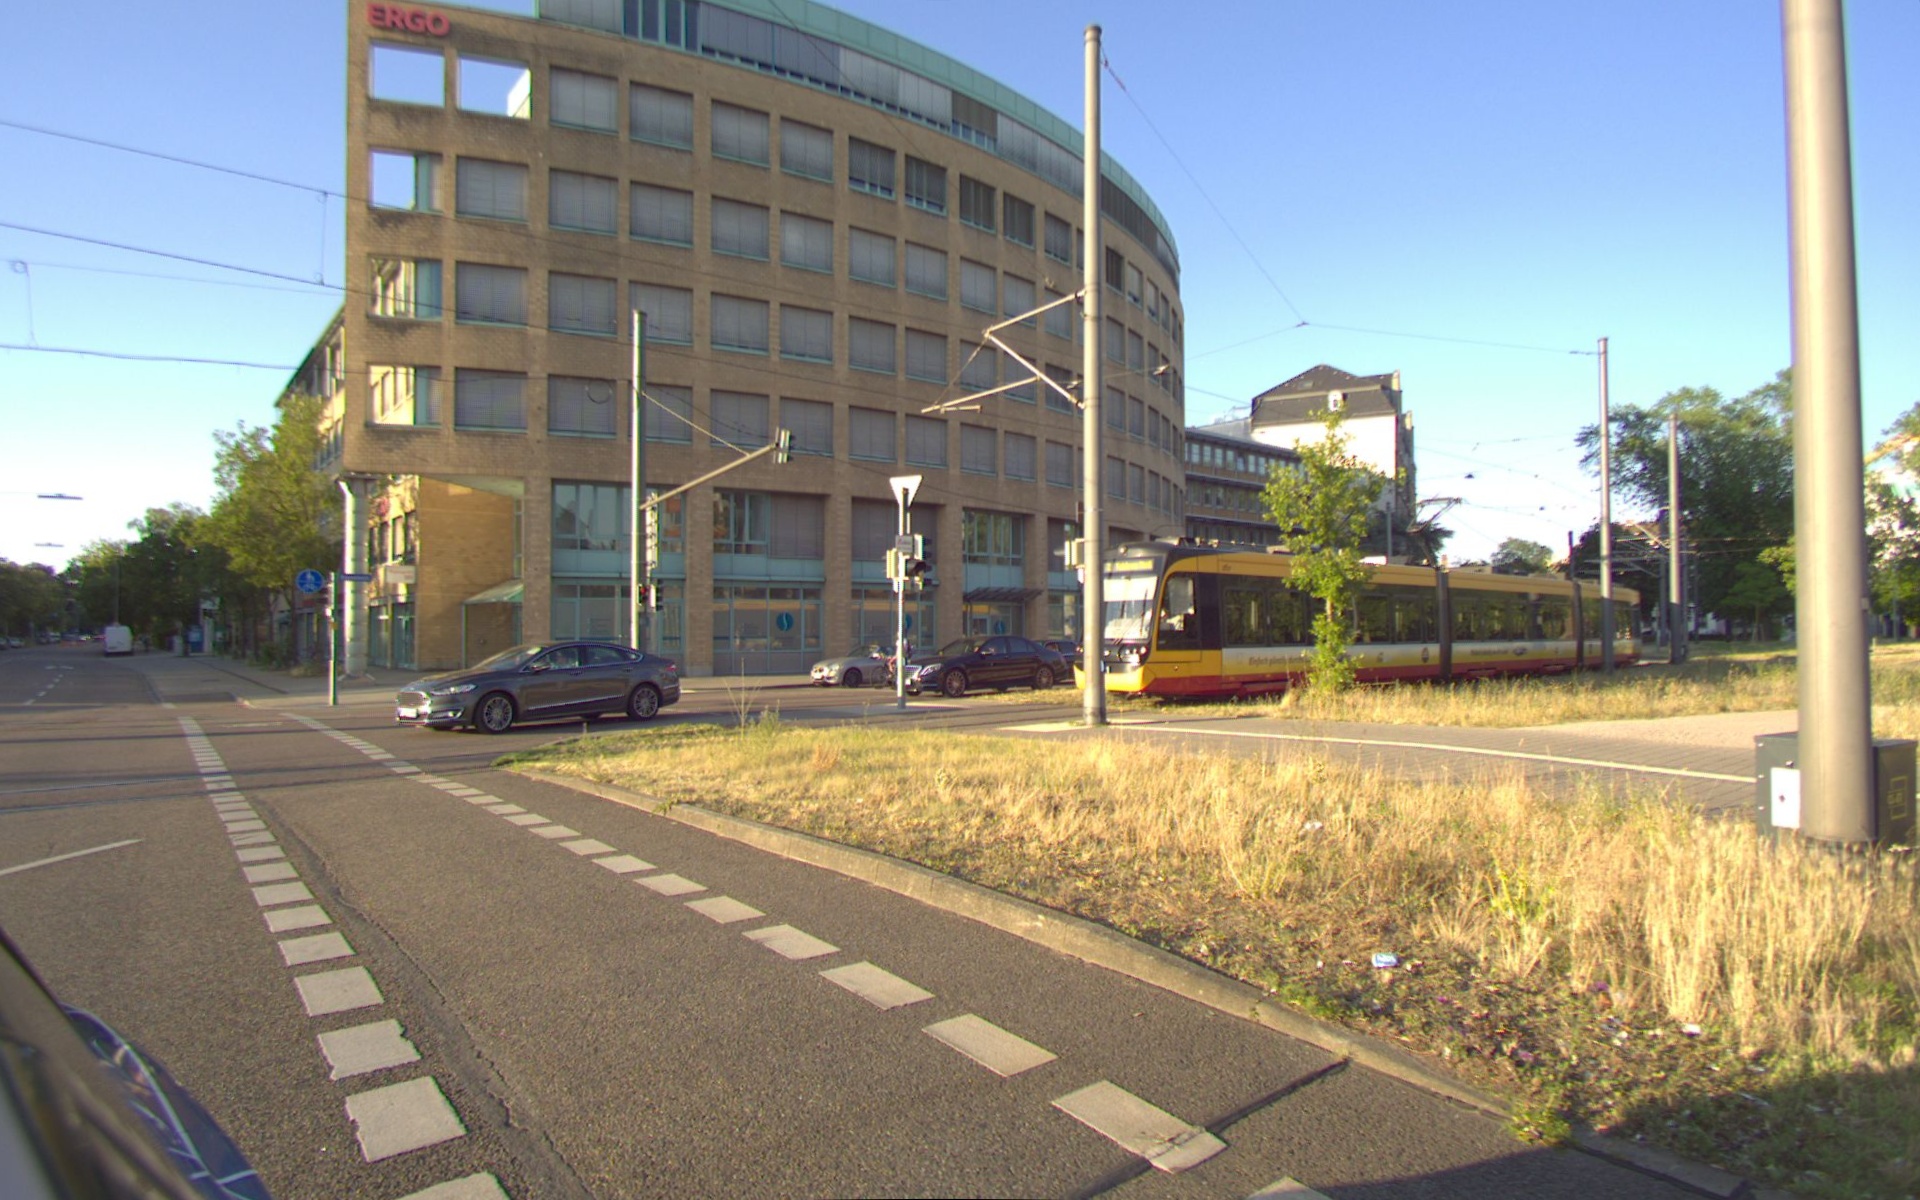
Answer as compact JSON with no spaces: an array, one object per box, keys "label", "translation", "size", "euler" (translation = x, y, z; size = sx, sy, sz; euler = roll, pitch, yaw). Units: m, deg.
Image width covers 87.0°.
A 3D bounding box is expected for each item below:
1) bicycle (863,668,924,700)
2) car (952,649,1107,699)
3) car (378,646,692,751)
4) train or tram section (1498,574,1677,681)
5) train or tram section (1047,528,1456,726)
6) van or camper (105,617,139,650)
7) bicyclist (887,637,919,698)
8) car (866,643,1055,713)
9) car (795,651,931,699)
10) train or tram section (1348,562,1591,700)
[{"label":"bicycle","translation":[-1.994,2.514,30.536],"size":[1.841,0.880,0.636],"euler":[2,-3,-42]},{"label":"car","translation":[2.181,2.217,31.042],"size":[4.665,1.396,2.003],"euler":[2,-4,-41]},{"label":"car","translation":[-7.089,1.558,17.371],"size":[1.888,1.497,4.667],"euler":[-2,-3,36]},{"label":"train or tram section","translation":[25.542,1.152,40.802],"size":[12.004,3.767,2.918],"euler":[2,-3,-43]},{"label":"train or tram section","translation":[7.720,0.695,24.664],"size":[13.011,3.767,2.922],"euler":[2,-3,-41]},{"label":"van or camper","translation":[-73.959,2.975,89.359],"size":[2.121,2.864,4.412],"euler":[2,-3,-39]},{"label":"bicyclist","translation":[-1.738,2.043,30.782],"size":[0.765,1.835,0.636],"euler":[2,-3,-42]},{"label":"car","translation":[0.082,1.863,25.276],"size":[4.631,1.547,1.901],"euler":[2,-3,-41]},{"label":"car","translation":[-3.125,2.407,33.037],"size":[4.160,1.396,1.752],"euler":[2,-3,-40]},{"label":"train or tram section","translation":[16.865,1.010,32.807],"size":[11.996,3.767,2.890],"euler":[2,-3,-42]}]
